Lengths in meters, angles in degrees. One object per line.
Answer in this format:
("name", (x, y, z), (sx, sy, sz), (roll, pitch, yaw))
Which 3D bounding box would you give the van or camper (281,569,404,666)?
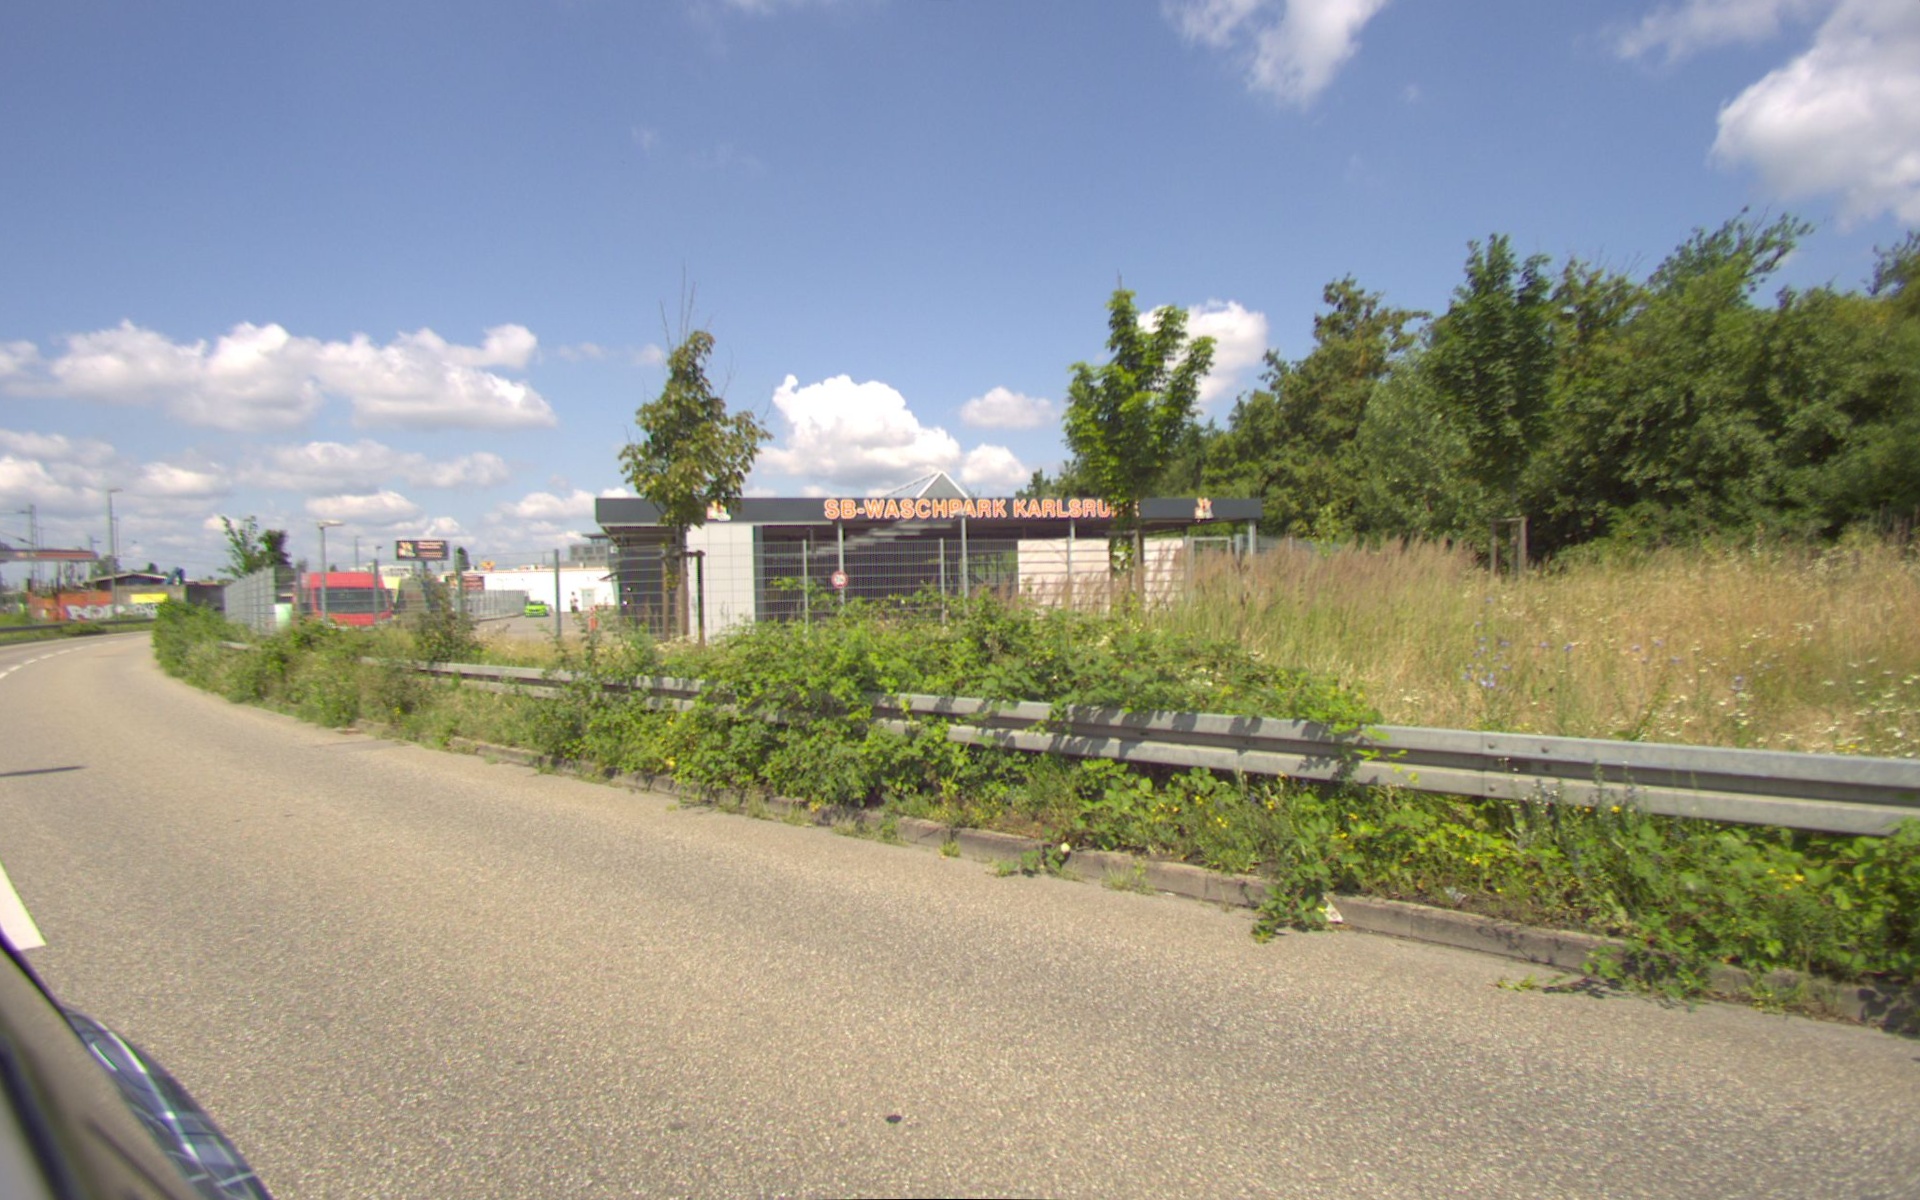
("van or camper", (-17.961, 0.505, 29.301), (2.161, 2.533, 5.711), (1, -2, -40))

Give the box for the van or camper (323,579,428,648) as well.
("van or camper", (-22.481, 0.443, 39.192), (2.211, 2.443, 5.677), (-1, 1, -16))

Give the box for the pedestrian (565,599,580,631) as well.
("pedestrian", (-22.124, 0.860, 57.772), (0.683, 1.762, 0.747), (-1, 1, -17))

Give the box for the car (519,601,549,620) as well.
("car", (-37.347, 0.897, 88.733), (1.890, 1.493, 4.312), (-2, 1, -16))
